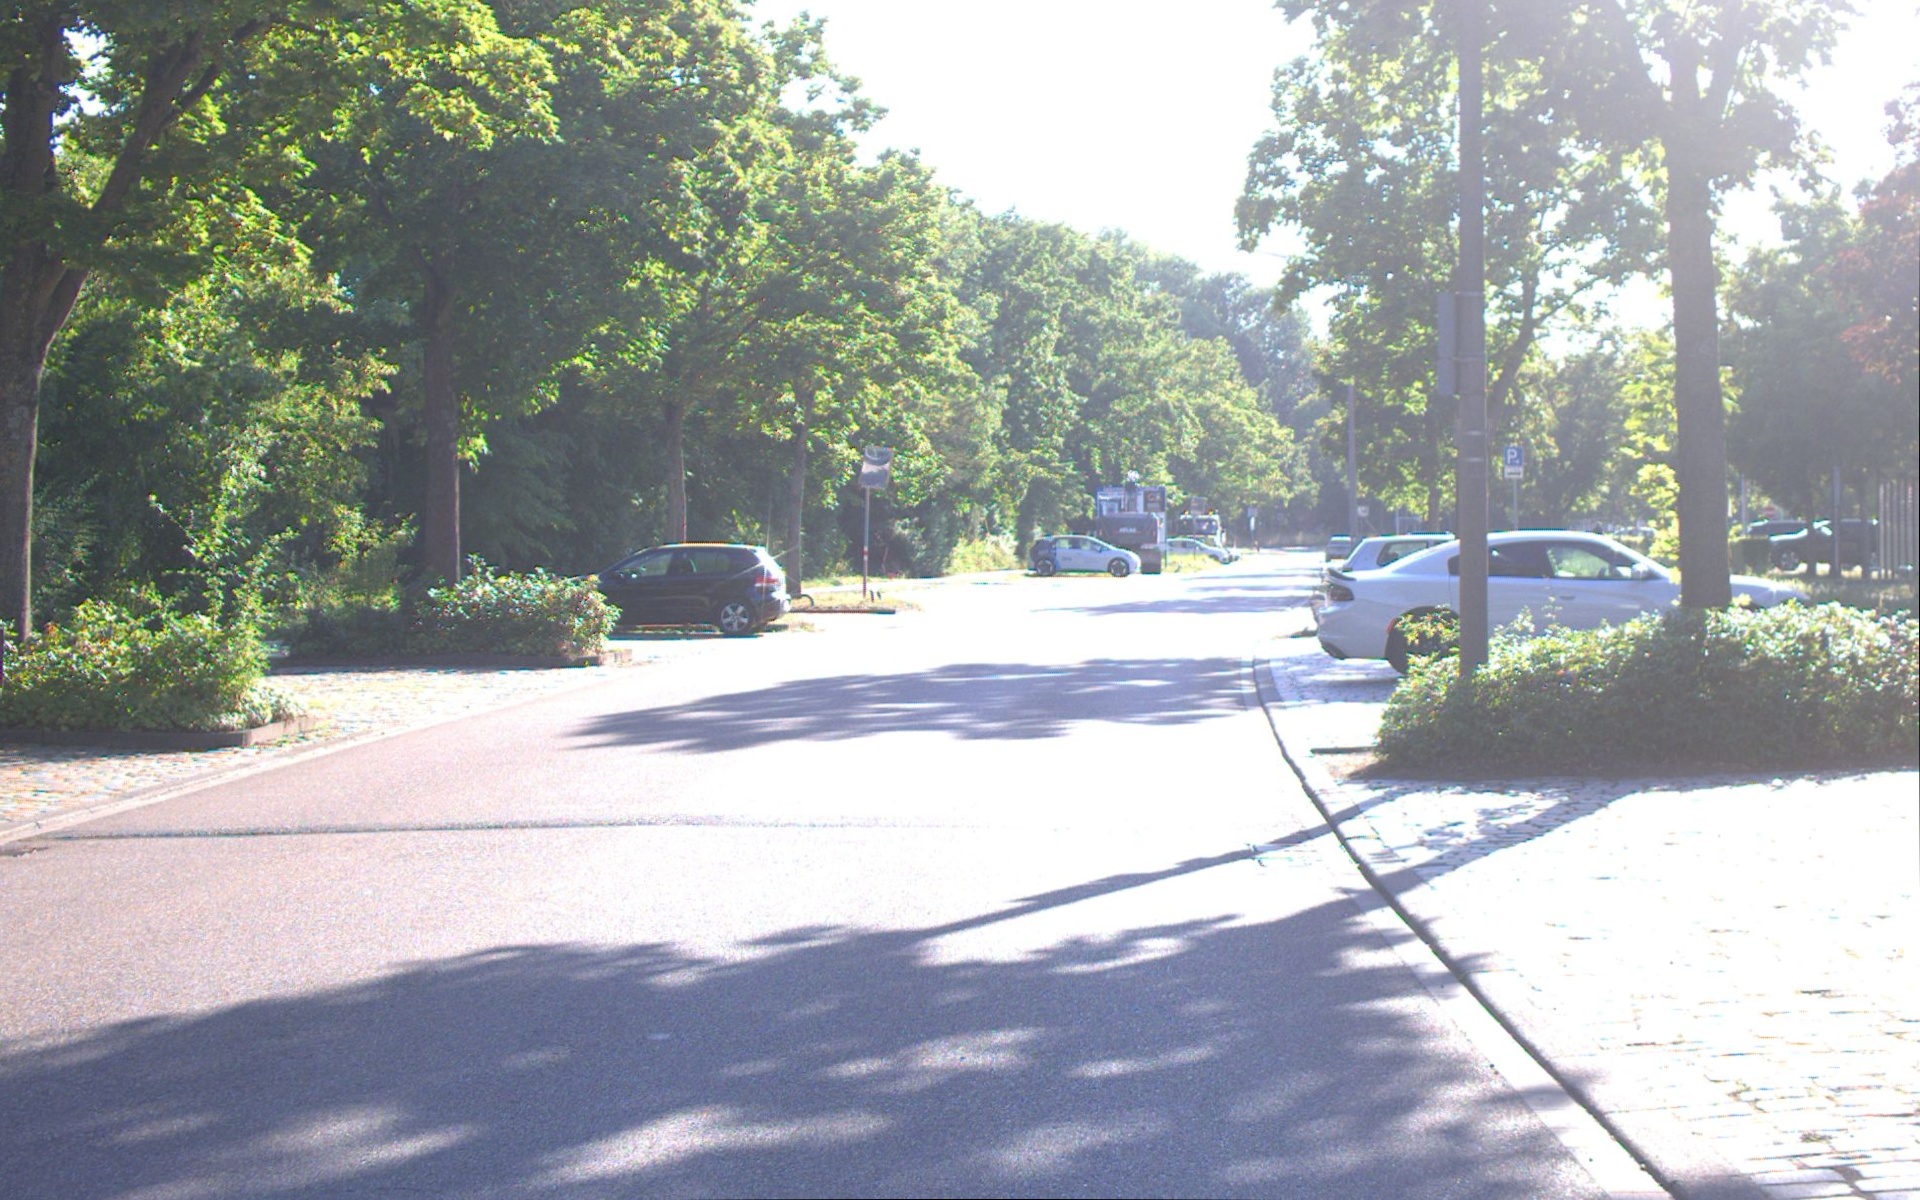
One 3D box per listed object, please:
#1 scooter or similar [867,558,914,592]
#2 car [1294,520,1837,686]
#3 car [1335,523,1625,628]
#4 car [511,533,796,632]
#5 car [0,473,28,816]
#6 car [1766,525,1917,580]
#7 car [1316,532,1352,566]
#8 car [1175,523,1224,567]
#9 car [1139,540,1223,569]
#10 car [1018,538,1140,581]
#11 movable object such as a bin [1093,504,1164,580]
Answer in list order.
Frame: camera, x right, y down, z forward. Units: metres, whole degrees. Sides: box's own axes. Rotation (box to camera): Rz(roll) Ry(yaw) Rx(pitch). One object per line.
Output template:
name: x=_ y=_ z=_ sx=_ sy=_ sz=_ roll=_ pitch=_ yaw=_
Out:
scooter or similar: x=-2.318 y=-0.838 z=115.482 sx=1.580 sy=1.141 sz=0.577 roll=-1 pitch=1 yaw=-42
car: x=6.069 y=0.014 z=34.988 sx=5.175 sy=1.568 sz=2.158 roll=-1 pitch=1 yaw=3
car: x=8.373 y=-0.388 z=55.227 sx=4.361 sy=1.474 sz=1.999 roll=-2 pitch=0 yaw=15
car: x=-5.004 y=-0.307 z=56.532 sx=4.359 sy=1.474 sz=2.000 roll=2 pitch=1 yaw=5
car: x=-8.157 y=0.299 z=19.702 sx=5.005 sy=2.013 sz=2.175 roll=-1 pitch=1 yaw=1
car: x=28.264 y=-1.523 z=110.317 sx=4.430 sy=1.700 sz=2.059 roll=-1 pitch=1 yaw=7
car: x=21.533 y=-2.941 z=197.996 sx=1.994 sy=1.897 sz=3.999 roll=-1 pitch=1 yaw=6
car: x=13.290 y=-3.057 z=191.052 sx=2.516 sy=2.378 sz=4.373 roll=-1 pitch=1 yaw=1
car: x=11.694 y=-2.420 z=181.846 sx=4.358 sy=1.474 sz=2.000 roll=-1 pitch=1 yaw=2
car: x=4.489 y=-1.526 z=129.105 sx=4.360 sy=1.542 sz=1.999 roll=-1 pitch=1 yaw=9
movable object such as a bin: x=6.982 y=-2.391 z=141.901 sx=2.838 sy=3.058 sz=4.926 roll=-1 pitch=1 yaw=4
